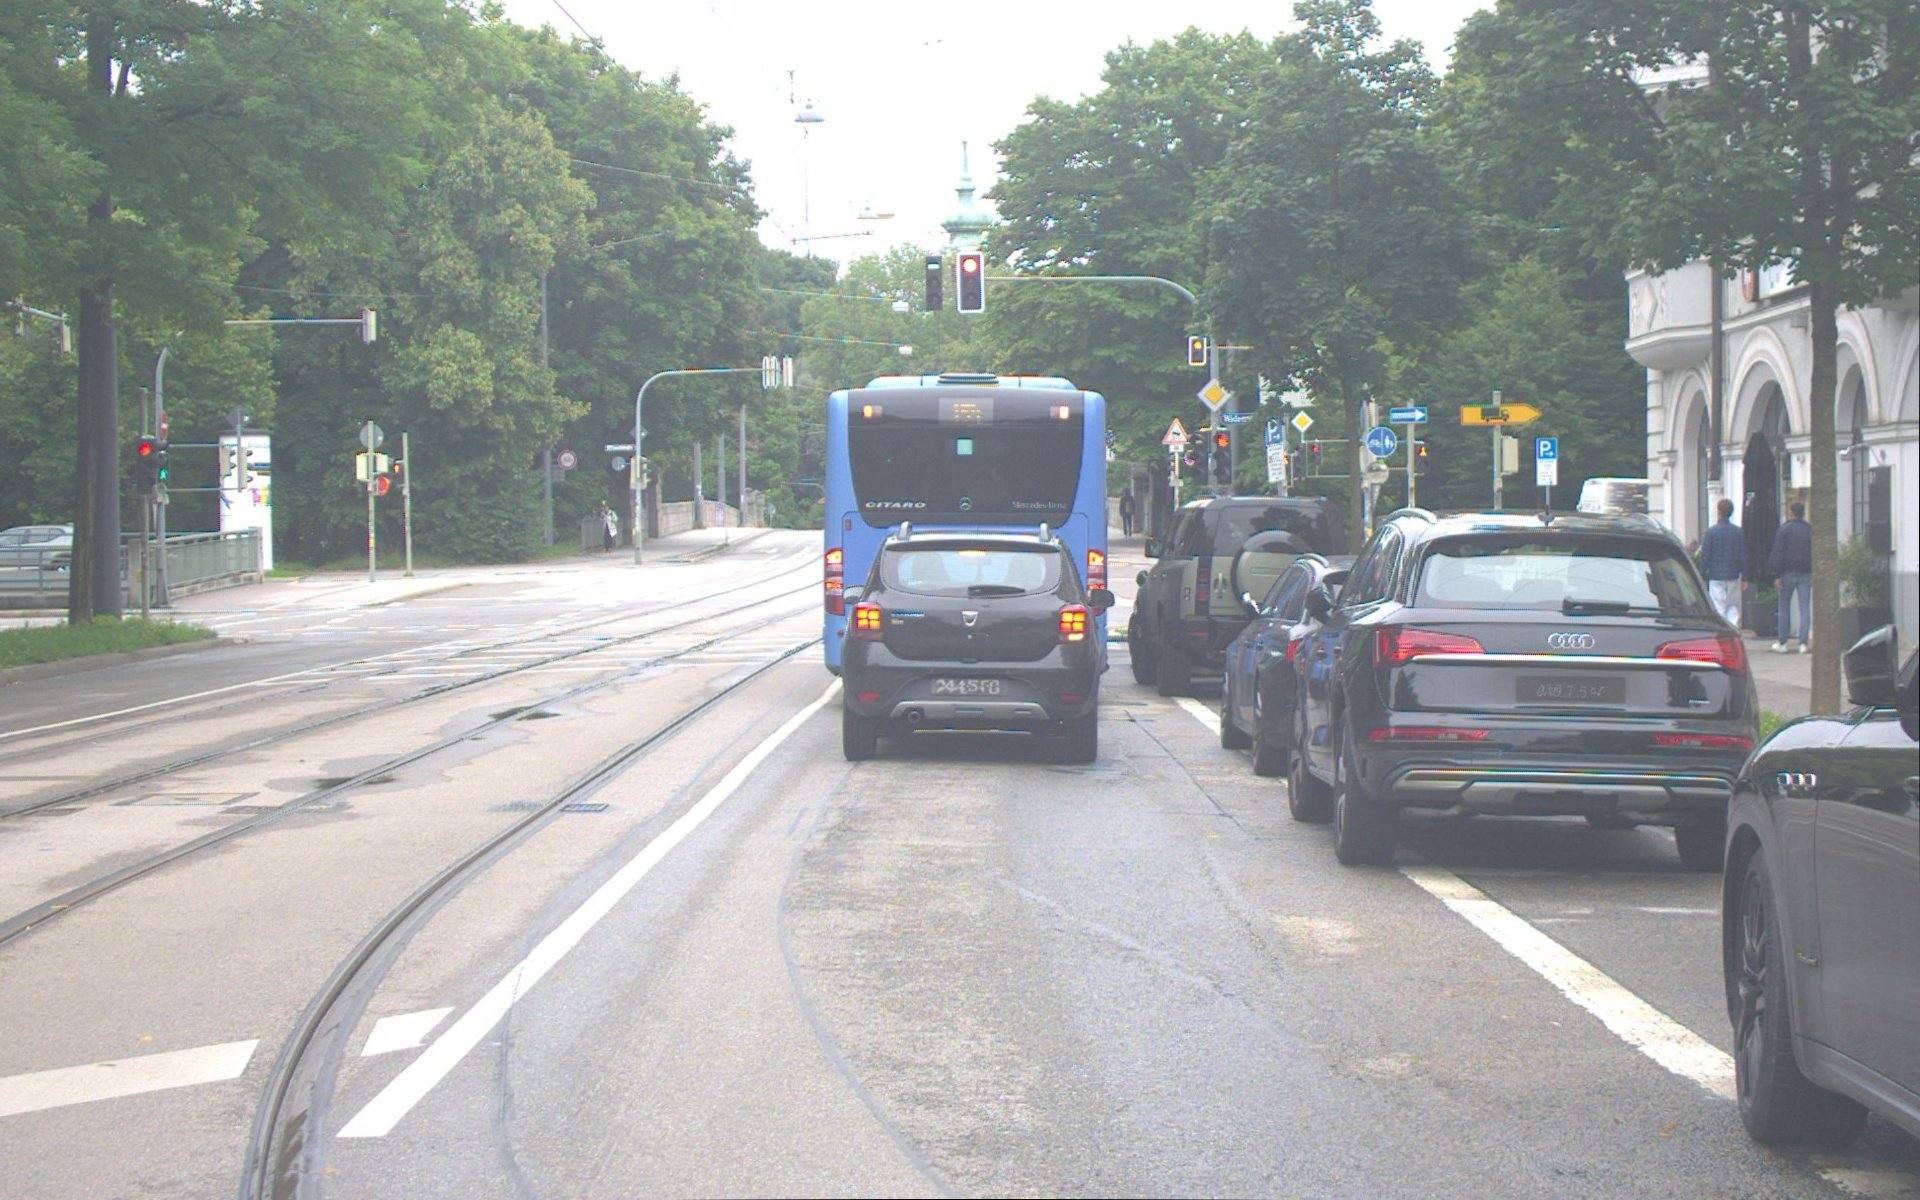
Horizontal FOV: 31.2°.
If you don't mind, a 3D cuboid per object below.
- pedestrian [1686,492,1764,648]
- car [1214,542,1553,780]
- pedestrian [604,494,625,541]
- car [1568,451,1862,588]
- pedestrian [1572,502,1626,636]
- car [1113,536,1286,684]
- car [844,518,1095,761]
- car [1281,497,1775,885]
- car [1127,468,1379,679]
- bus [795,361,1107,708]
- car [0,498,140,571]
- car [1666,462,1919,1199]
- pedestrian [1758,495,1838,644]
[{"bbox_3d":[9.012,-0.361,40.535,0.705,1.810,0.870,1,1,1],"label":"pedestrian"},{"bbox_3d":[2.753,0.333,23.284,1.716,1.421,4.602,1,1,0],"label":"car"},{"bbox_3d":[-11.009,-2.633,109.591,0.532,1.496,0.588,1,1,5],"label":"pedestrian"},{"bbox_3d":[15.001,-1.604,68.527,5.295,2.603,2.231,1,1,-2],"label":"car"},{"bbox_3d":[9.672,-0.474,52.053,0.673,2.007,0.716,1,1,2],"label":"pedestrian"},{"bbox_3d":[2.700,0.069,39.585,1.714,1.586,4.327,1,1,1],"label":"car"},{"bbox_3d":[0.066,0.225,24.017,1.601,1.551,3.525,1,1,0],"label":"car"},{"bbox_3d":[2.650,0.349,17.017,1.774,1.652,4.487,0,1,1],"label":"car"},{"bbox_3d":[2.794,-0.289,33.761,1.914,1.899,4.808,1,1,-2],"label":"car"},{"bbox_3d":[-0.152,-0.632,33.434,2.678,2.987,6.961,1,1,-1],"label":"bus"},{"bbox_3d":[-23.879,-1.740,91.080,4.021,1.880,1.491,1,1,-5],"label":"car"},{"bbox_3d":[2.764,0.550,6.617,1.901,1.604,4.665,1,2,1],"label":"car"},{"bbox_3d":[9.859,-0.367,40.466,0.705,1.726,0.843,1,1,1],"label":"pedestrian"}]
